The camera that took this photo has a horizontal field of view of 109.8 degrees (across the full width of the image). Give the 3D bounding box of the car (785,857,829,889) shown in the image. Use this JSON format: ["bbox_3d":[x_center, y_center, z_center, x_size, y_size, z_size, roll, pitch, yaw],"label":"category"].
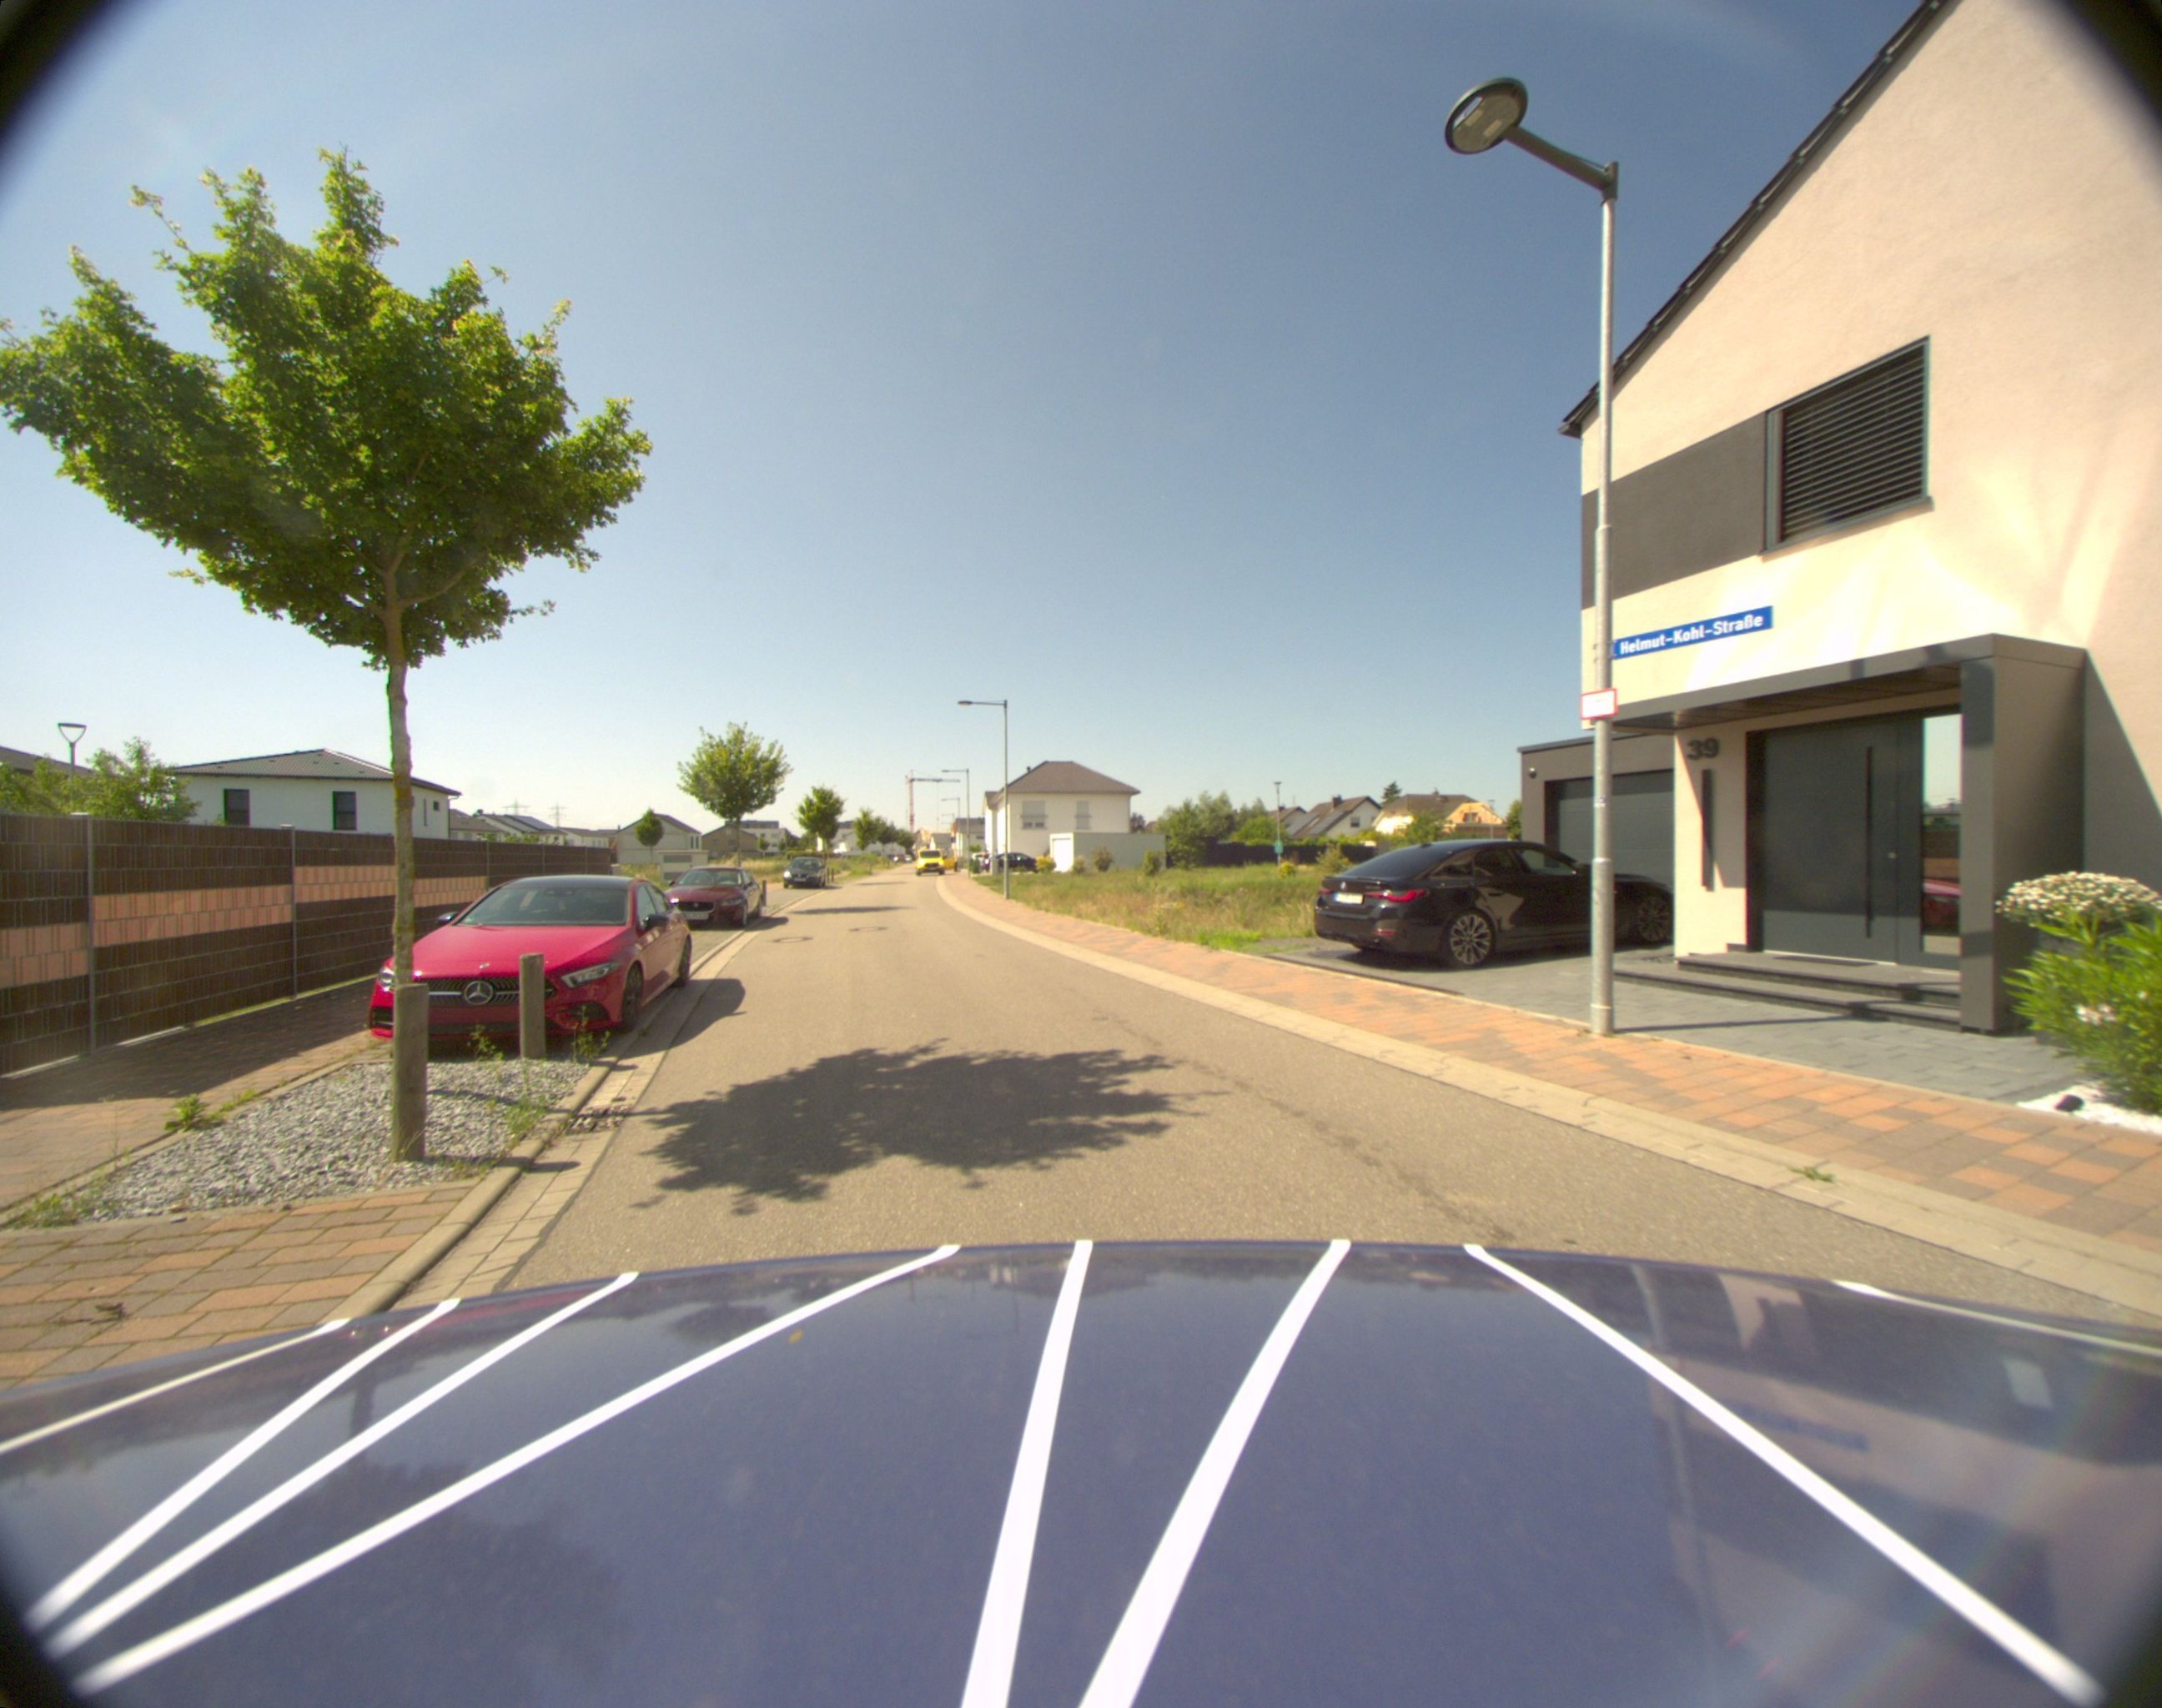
[{"bbox_3d":[-13.352,0.891,37.169,1.604,1.466,3.670,1,0,-13],"label":"car"}]

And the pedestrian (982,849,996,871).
[{"bbox_3d":[-7.225,0.461,59.549,0.932,1.675,0.537,-3,1,-1],"label":"pedestrian"}]

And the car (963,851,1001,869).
[{"bbox_3d":[-10.682,0.675,82.034,4.000,1.842,1.998,-1,1,-10],"label":"car"}]

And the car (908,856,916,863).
[{"bbox_3d":[-32.372,1.084,145.611,1.494,1.389,3.269,-1,1,-11],"label":"car"}]

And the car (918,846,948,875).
[{"bbox_3d":[-11.254,0.453,57.641,1.891,2.002,4.834,-2,1,-15],"label":"car"}]

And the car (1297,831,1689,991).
[{"bbox_3d":[5.152,0.590,9.587,4.393,1.622,1.768,-2,1,-17],"label":"car"}]

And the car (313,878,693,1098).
[{"bbox_3d":[-5.357,1.032,7.836,1.770,1.429,4.512,0,0,-19],"label":"car"}]

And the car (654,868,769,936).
[{"bbox_3d":[-8.967,1.090,18.803,1.761,1.355,4.569,0,0,-16],"label":"car"}]

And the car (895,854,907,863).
[{"bbox_3d":[-30.159,0.741,127.236,1.770,1.483,3.996,-1,0,-11],"label":"car"}]

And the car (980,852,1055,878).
[{"bbox_3d":[-4.031,0.706,48.528,4.412,1.444,1.745,-2,1,-24],"label":"car"}]
